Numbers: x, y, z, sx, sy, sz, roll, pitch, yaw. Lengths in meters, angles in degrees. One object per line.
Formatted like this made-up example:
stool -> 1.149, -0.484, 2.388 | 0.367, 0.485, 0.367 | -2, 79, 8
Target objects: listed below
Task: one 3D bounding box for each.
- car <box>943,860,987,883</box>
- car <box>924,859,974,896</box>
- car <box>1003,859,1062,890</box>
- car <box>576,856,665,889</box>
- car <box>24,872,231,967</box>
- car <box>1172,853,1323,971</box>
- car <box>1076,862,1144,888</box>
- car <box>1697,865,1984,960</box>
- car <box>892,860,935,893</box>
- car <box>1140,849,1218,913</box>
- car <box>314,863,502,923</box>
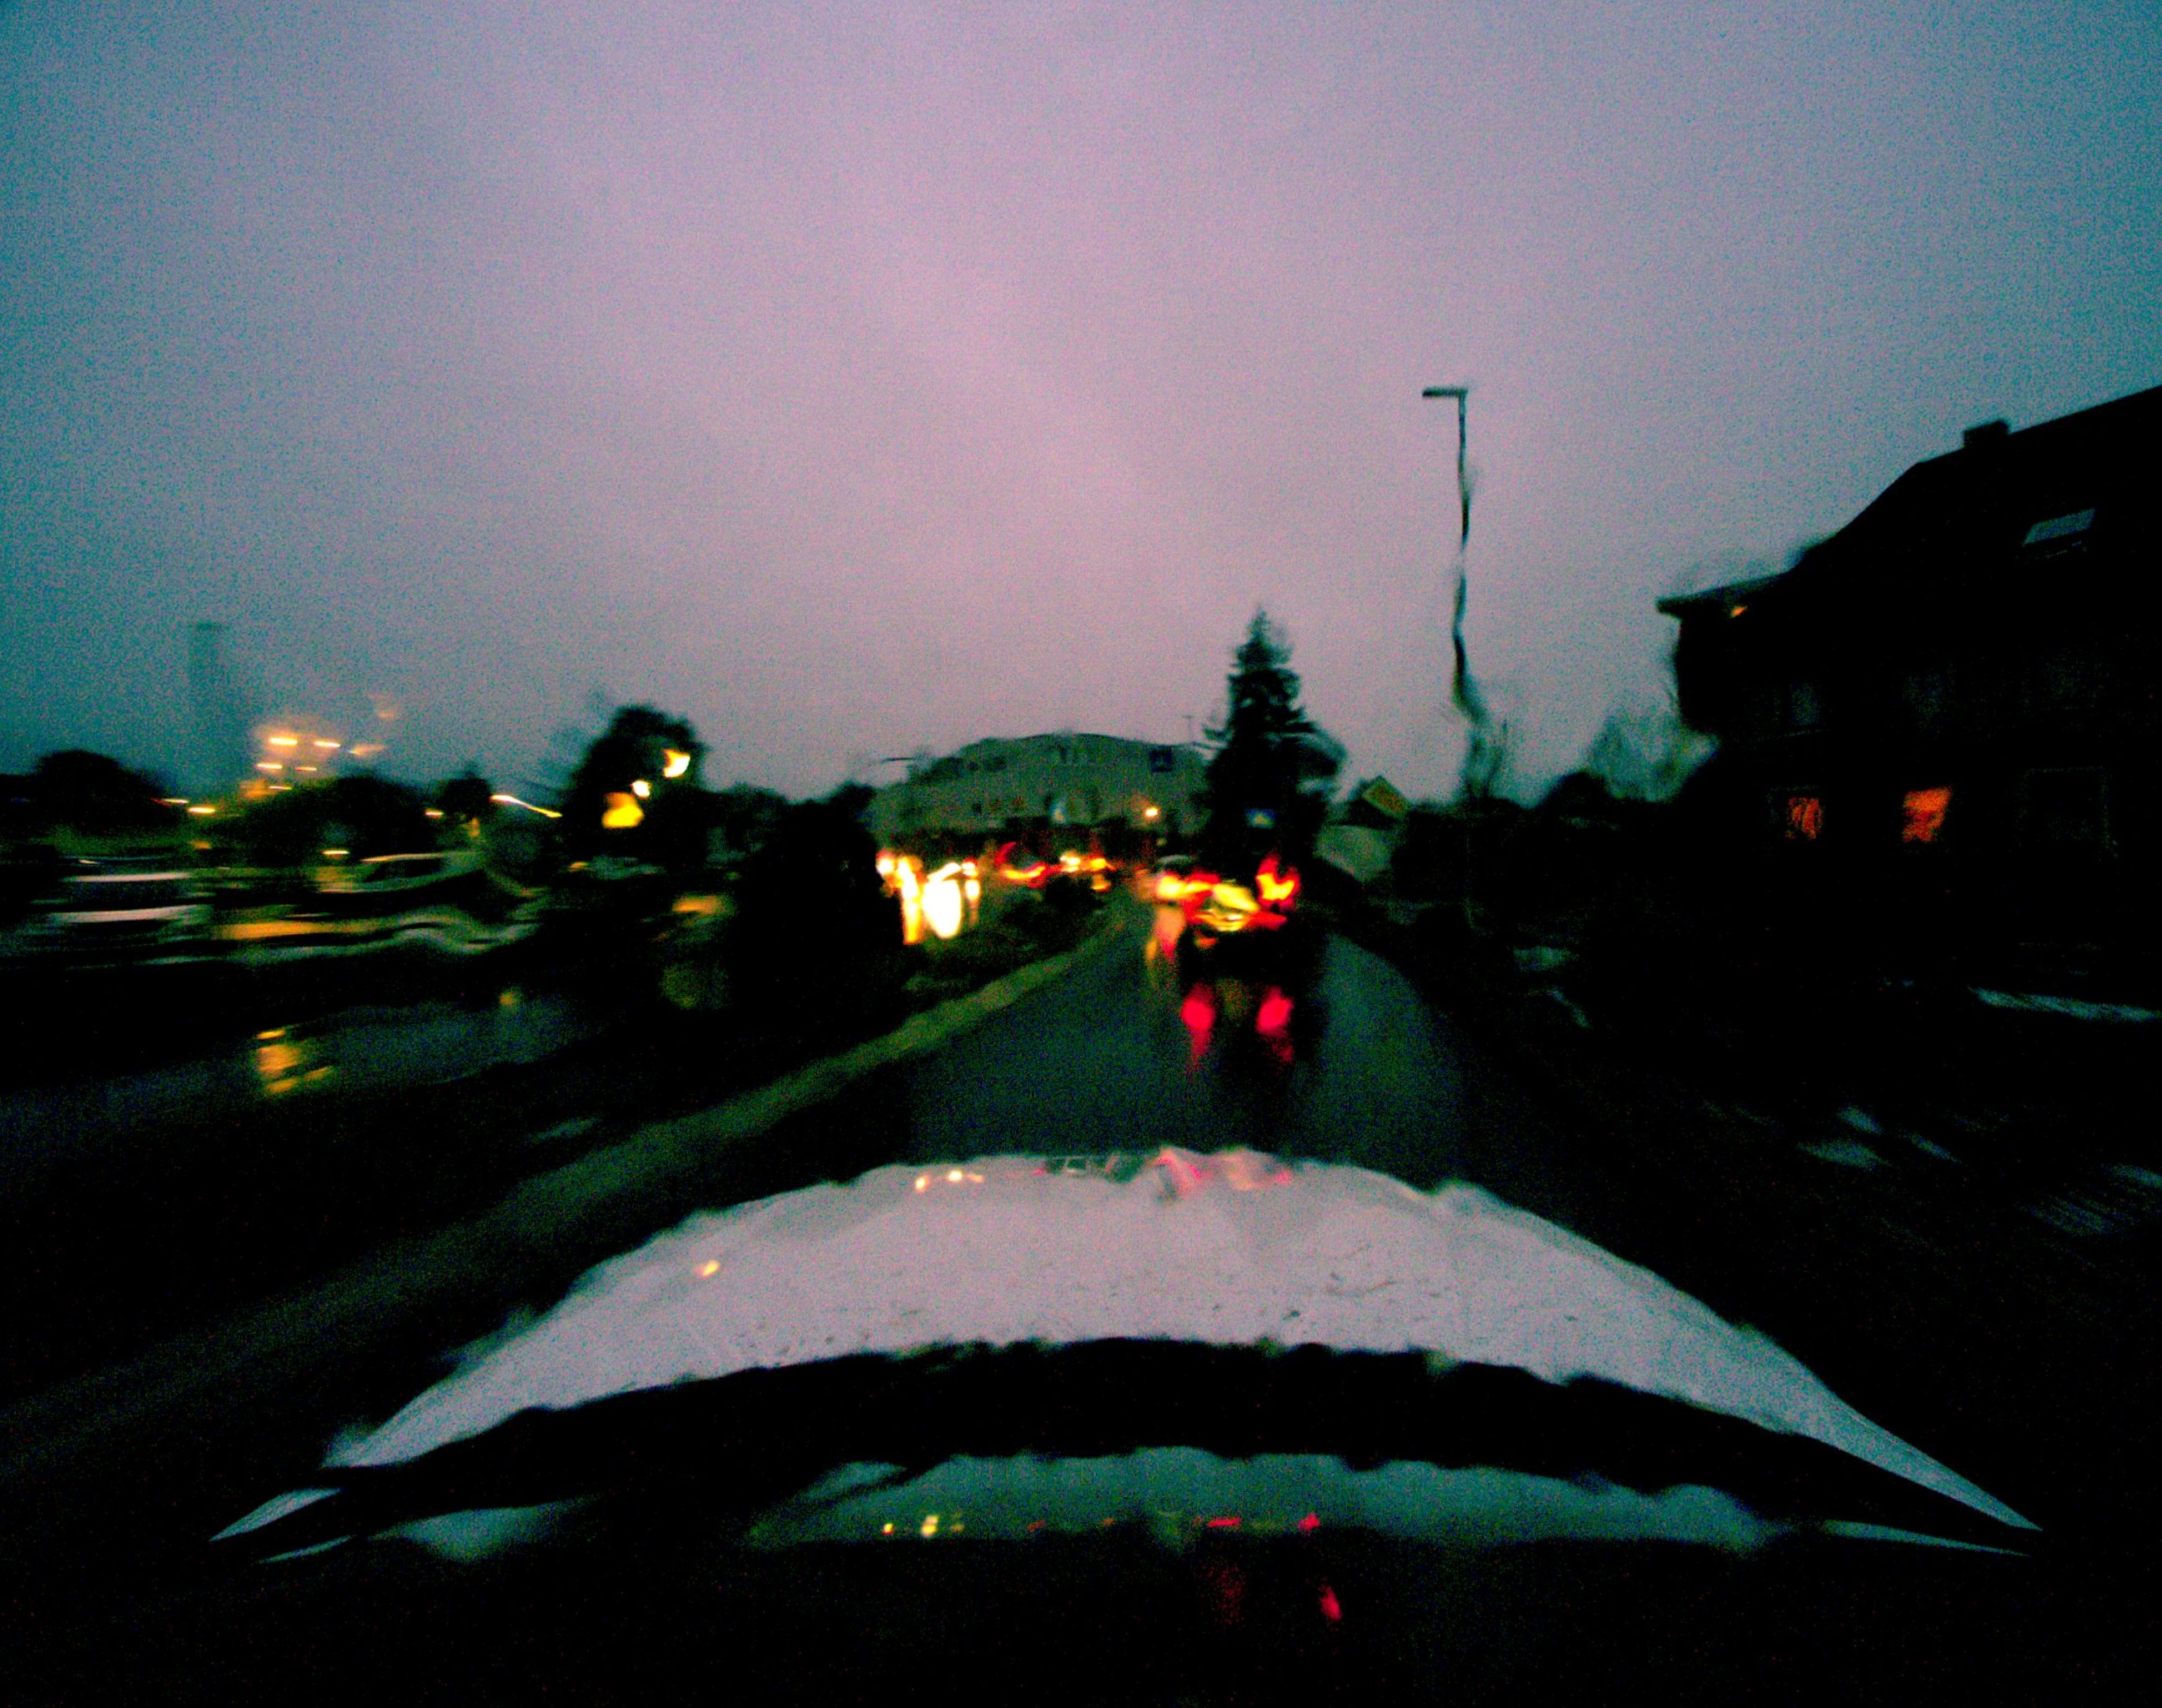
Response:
car -> -8.535, 1.311, 59.517 | 1.892, 1.548, 4.531 | -1, -1, -26
car -> -8.259, 1.373, 50.487 | 2.171, 2.060, 4.539 | -1, 1, -21
car -> -3.026, 1.200, 49.453 | 2.073, 1.717, 4.535 | -1, 1, -24
car -> -27.593, 1.072, 48.892 | 1.685, 1.747, 4.382 | 0, 1, 45
car -> -19.139, 1.198, 16.603 | 2.075, 1.561, 4.230 | 1, 0, -40
car -> 2.765, 0.890, 14.462 | 1.937, 1.718, 4.001 | -1, 1, 1
car -> 1.991, 1.343, 54.304 | 4.598, 1.572, 1.885 | -1, 1, -45
car -> 13.356, 0.935, 14.572 | 1.288, 1.383, 3.551 | 0, 1, -24
car -> -11.439, 1.475, 55.418 | 2.171, 2.060, 4.541 | -1, 1, -20
car -> 3.100, 0.802, 26.682 | 2.154, 1.689, 4.576 | -4, 1, 3
car -> -26.558, 1.451, 32.336 | 2.007, 2.134, 5.457 | 0, 0, 40
